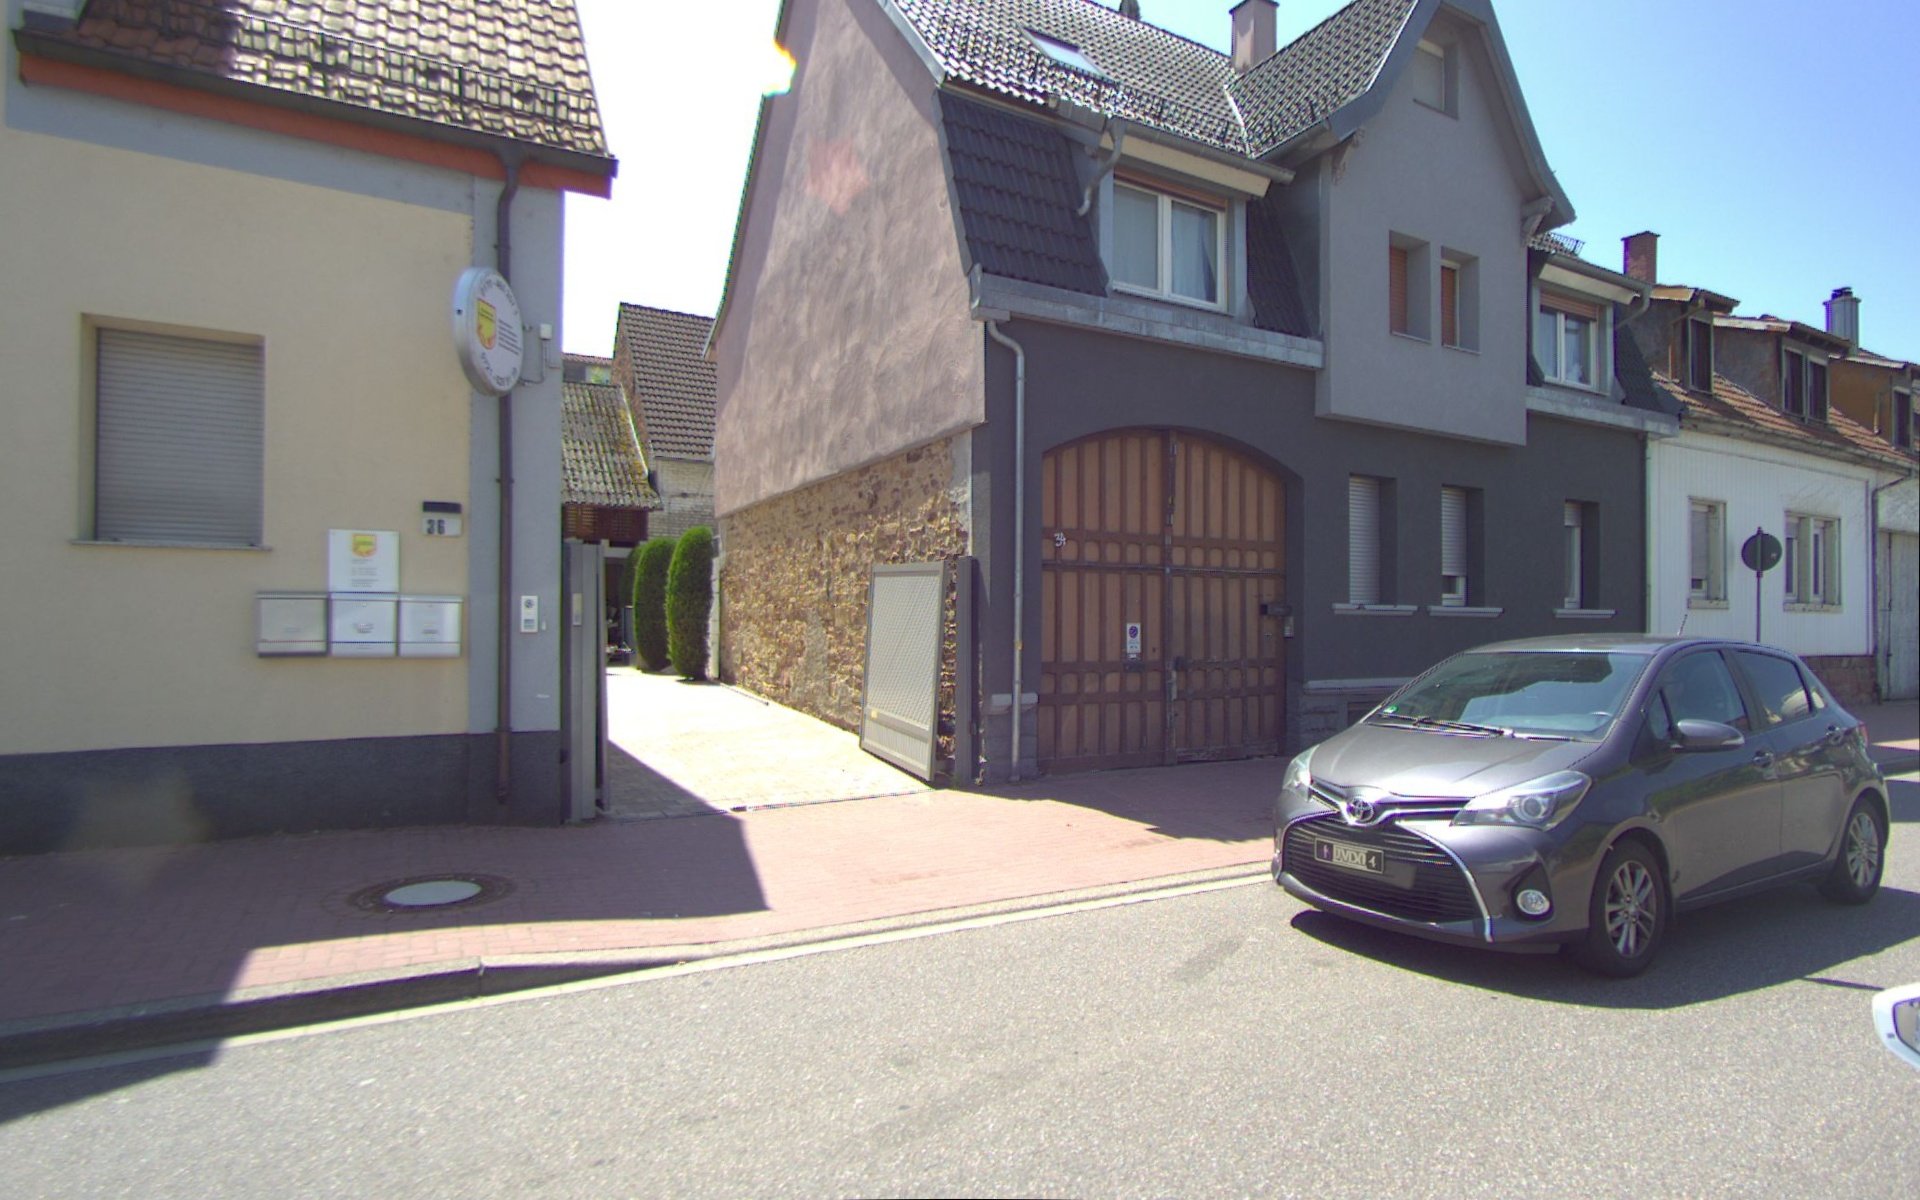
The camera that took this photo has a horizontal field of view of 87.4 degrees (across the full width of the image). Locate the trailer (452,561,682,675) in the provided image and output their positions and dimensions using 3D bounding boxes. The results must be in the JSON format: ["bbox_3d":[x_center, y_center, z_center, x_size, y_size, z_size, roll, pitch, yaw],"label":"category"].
[{"bbox_3d":[-7.698,0.351,19.906,3.840,2.133,1.738,0,-1,2],"label":"trailer"}]

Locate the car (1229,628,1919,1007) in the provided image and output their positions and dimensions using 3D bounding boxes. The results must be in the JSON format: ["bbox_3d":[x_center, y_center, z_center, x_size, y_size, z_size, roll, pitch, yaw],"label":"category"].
[{"bbox_3d":[3.539,0.931,5.652,3.882,1.478,1.669,1,-3,-30],"label":"car"}]
